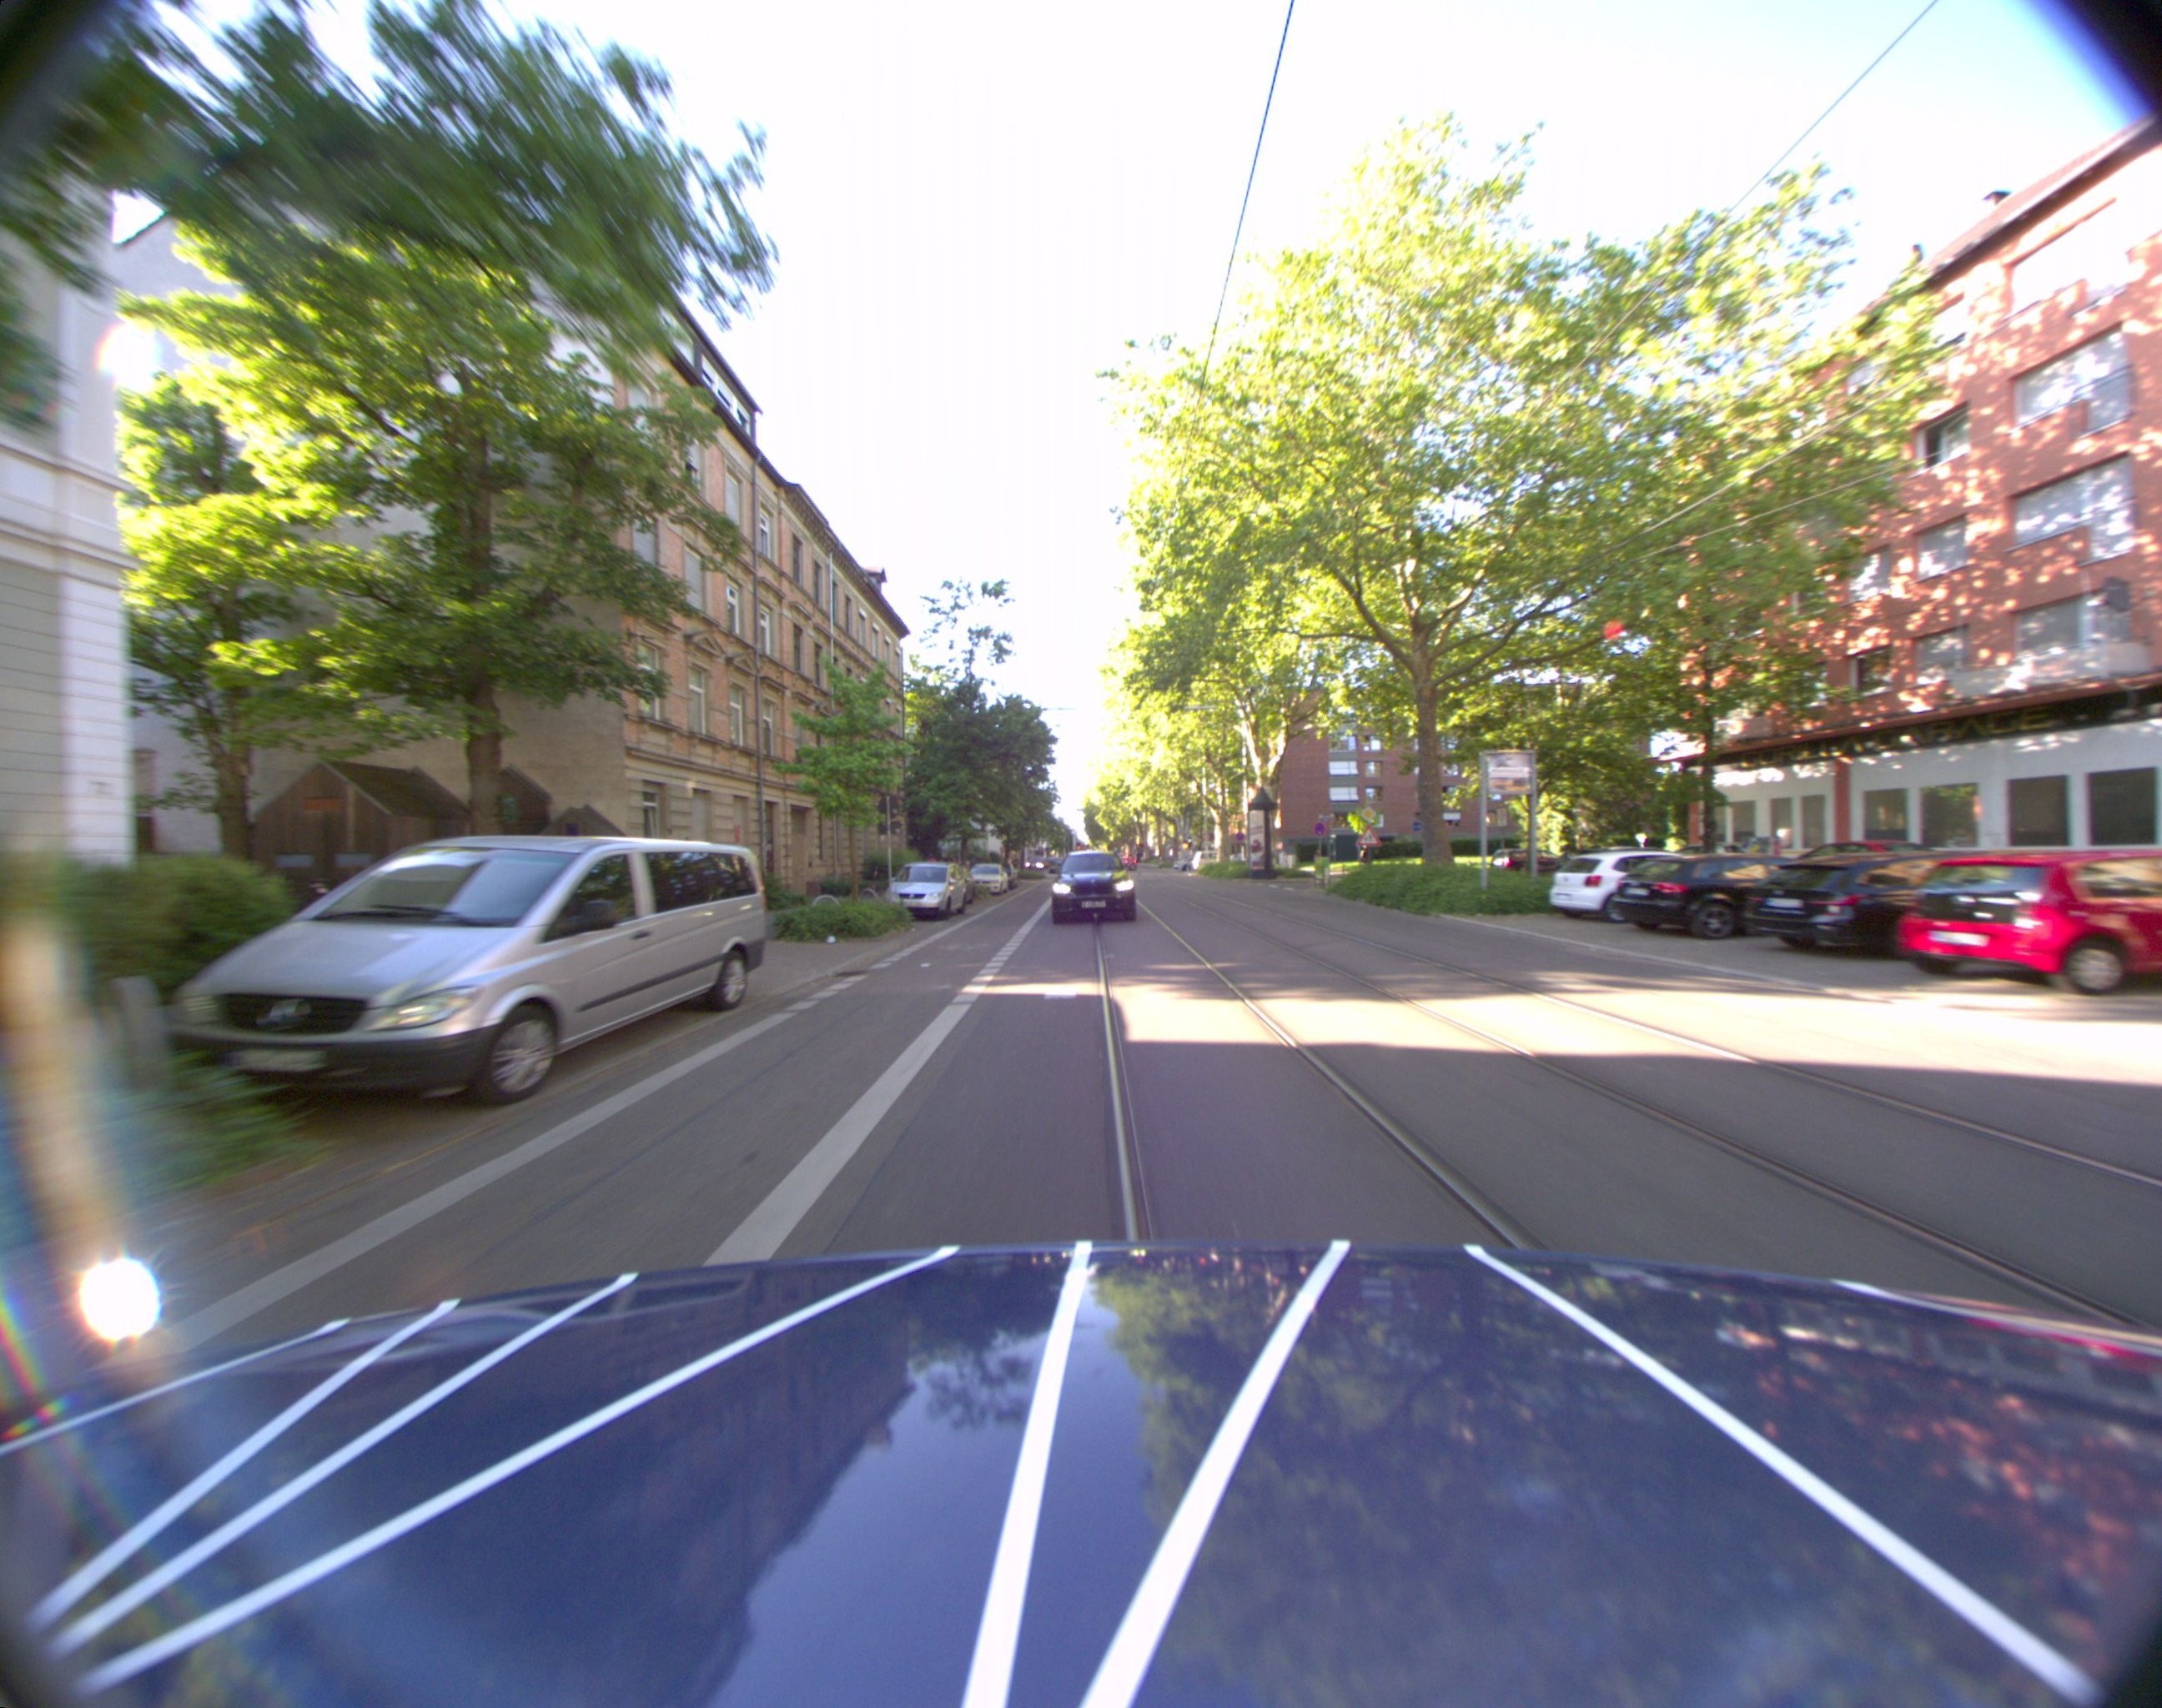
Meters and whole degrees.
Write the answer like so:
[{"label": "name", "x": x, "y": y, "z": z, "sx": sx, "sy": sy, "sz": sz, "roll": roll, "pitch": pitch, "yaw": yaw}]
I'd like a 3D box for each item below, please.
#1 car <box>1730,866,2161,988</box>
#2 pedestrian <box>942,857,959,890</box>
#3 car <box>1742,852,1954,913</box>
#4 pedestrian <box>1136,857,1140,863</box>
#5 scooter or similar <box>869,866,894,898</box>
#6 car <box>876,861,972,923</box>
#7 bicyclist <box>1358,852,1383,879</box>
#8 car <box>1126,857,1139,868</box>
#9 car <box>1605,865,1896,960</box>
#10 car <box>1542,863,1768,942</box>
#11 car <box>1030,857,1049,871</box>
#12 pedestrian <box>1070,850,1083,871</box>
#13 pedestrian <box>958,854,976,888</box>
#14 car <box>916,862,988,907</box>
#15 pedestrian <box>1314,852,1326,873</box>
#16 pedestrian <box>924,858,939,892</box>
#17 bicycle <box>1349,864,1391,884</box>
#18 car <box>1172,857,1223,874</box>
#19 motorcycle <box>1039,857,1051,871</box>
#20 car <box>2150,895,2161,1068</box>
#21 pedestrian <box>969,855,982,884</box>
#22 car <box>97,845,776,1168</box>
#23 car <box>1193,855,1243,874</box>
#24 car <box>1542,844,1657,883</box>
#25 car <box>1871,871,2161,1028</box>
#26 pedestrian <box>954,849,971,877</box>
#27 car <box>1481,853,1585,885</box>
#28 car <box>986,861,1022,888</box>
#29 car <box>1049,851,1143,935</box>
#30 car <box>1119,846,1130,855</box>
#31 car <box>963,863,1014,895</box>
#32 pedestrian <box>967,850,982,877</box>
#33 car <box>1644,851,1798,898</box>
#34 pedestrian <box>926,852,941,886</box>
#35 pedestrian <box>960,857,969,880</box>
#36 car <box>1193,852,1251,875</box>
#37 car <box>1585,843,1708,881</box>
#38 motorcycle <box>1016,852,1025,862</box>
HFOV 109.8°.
[{"label": "car", "x": 12.162, "y": 0.982, "z": 10.879, "sx": 4.092, "sy": 1.456, "sz": 1.821, "roll": -2, "pitch": 0, "yaw": 3}, {"label": "pedestrian", "x": -6.741, "y": 1.004, "z": 39.386, "sx": 0.728, "sy": 1.699, "sz": 0.856, "roll": -2, "pitch": 1, "yaw": -5}, {"label": "car", "x": 21.233, "y": 0.728, "z": 21.315, "sx": 1.952, "sy": 1.478, "sz": 4.000, "roll": -2, "pitch": 0, "yaw": 1}, {"label": "pedestrian", "x": 11.543, "y": 1.175, "z": 153.976, "sx": 0.708, "sy": 1.197, "sz": 0.473, "roll": -2, "pitch": 1, "yaw": 2}, {"label": "scooter or similar", "x": -8.066, "y": 1.124, "z": 30.772, "sx": 0.577, "sy": 1.239, "sz": 1.335, "roll": -2, "pitch": 0, "yaw": 2}, {"label": "car", "x": -4.532, "y": 1.046, "z": 22.539, "sx": 1.888, "sy": 1.559, "sz": 4.242, "roll": 1, "pitch": 0, "yaw": 1}, {"label": "bicyclist", "x": 16.089, "y": 0.636, "z": 42.250, "sx": 0.802, "sy": 1.498, "sz": 1.116, "roll": -2, "pitch": 1, "yaw": -9}, {"label": "car", "x": 7.217, "y": 1.225, "z": 106.552, "sx": 1.665, "sy": 1.435, "sz": 3.473, "roll": -2, "pitch": 0, "yaw": 1}, {"label": "car", "x": 11.730, "y": 0.998, "z": 13.516, "sx": 3.610, "sy": 1.456, "sz": 1.687, "roll": -2, "pitch": 0, "yaw": 3}, {"label": "car", "x": 11.983, "y": 0.980, "z": 16.050, "sx": 3.427, "sy": 1.456, "sz": 1.697, "roll": -2, "pitch": 0, "yaw": 3}, {"label": "car", "x": -4.777, "y": 1.141, "z": 88.063, "sx": 1.766, "sy": 1.612, "sz": 4.442, "roll": 1, "pitch": 0, "yaw": 2}, {"label": "pedestrian", "x": -0.433, "y": 0.623, "z": 71.788, "sx": 0.870, "sy": 1.874, "sz": 0.996, "roll": -2, "pitch": 1, "yaw": -17}, {"label": "pedestrian", "x": -5.891, "y": 0.876, "z": 39.228, "sx": 0.728, "sy": 1.683, "sz": 0.956, "roll": -2, "pitch": 1, "yaw": -2}, {"label": "car", "x": -4.781, "y": 1.099, "z": 28.821, "sx": 1.888, "sy": 1.458, "sz": 4.594, "roll": 1, "pitch": 0, "yaw": 1}, {"label": "pedestrian", "x": 19.242, "y": 0.677, "z": 61.172, "sx": 0.711, "sy": 1.663, "sz": 0.779, "roll": -2, "pitch": 1, "yaw": 1}, {"label": "pedestrian", "x": -8.083, "y": 1.133, "z": 41.084, "sx": 0.600, "sy": 1.783, "sz": 0.728, "roll": -2, "pitch": 1, "yaw": -2}, {"label": "bicycle", "x": 16.087, "y": 1.106, "z": 42.358, "sx": 0.971, "sy": 0.993, "sz": 2.581, "roll": -2, "pitch": 0, "yaw": -9}, {"label": "car", "x": 11.670, "y": 1.136, "z": 76.569, "sx": 4.776, "sy": 1.452, "sz": 1.954, "roll": -2, "pitch": 0, "yaw": -1}, {"label": "motorcycle", "x": -3.687, "y": 1.039, "z": 78.895, "sx": 1.054, "sy": 1.446, "sz": 2.208, "roll": -2, "pitch": 0, "yaw": 1}, {"label": "car", "x": 11.105, "y": 1.023, "z": 5.530, "sx": 3.997, "sy": 1.456, "sz": 1.854, "roll": -2, "pitch": 0, "yaw": 1}, {"label": "pedestrian", "x": -6.571, "y": 0.943, "z": 47.340, "sx": 0.728, "sy": 1.783, "sz": 0.600, "roll": -2, "pitch": 1, "yaw": -5}, {"label": "car", "x": -4.755, "y": 0.882, "z": 6.907, "sx": 1.888, "sy": 1.840, "sz": 4.967, "roll": 1, "pitch": 0, "yaw": 1}, {"label": "car", "x": 12.349, "y": 0.938, "z": 68.666, "sx": 4.150, "sy": 1.637, "sz": 1.902, "roll": -2, "pitch": 0, "yaw": -1}, {"label": "car", "x": 22.276, "y": 0.388, "z": 32.824, "sx": 1.818, "sy": 1.484, "sz": 3.997, "roll": -2, "pitch": 0, "yaw": -9}, {"label": "car", "x": 11.588, "y": 1.001, "z": 8.567, "sx": 3.427, "sy": 1.456, "sz": 1.760, "roll": -2, "pitch": 0, "yaw": 3}, {"label": "pedestrian", "x": -7.720, "y": 0.603, "z": 49.522, "sx": 0.727, "sy": 1.782, "sz": 0.969, "roll": 1, "pitch": 0, "yaw": 12}, {"label": "car", "x": 24.223, "y": 0.784, "z": 40.766, "sx": 4.540, "sy": 1.480, "sz": 1.859, "roll": -2, "pitch": 0, "yaw": -5}, {"label": "car", "x": -4.328, "y": 1.126, "z": 43.238, "sx": 1.677, "sy": 1.404, "sz": 3.842, "roll": 1, "pitch": 0, "yaw": -1}, {"label": "car", "x": 0.367, "y": 0.824, "z": 18.789, "sx": 1.937, "sy": 1.718, "sz": 5.073, "roll": -2, "pitch": 0, "yaw": 1}, {"label": "car", "x": 7.348, "y": -0.597, "z": 128.438, "sx": 1.820, "sy": 1.559, "sz": 4.116, "roll": 0, "pitch": 0, "yaw": 1}, {"label": "car", "x": -4.371, "y": 1.145, "z": 36.613, "sx": 1.888, "sy": 1.360, "sz": 4.107, "roll": 1, "pitch": 0, "yaw": 1}, {"label": "pedestrian", "x": -6.943, "y": 0.609, "z": 49.609, "sx": 0.727, "sy": 1.782, "sz": 0.854, "roll": 1, "pitch": 0, "yaw": 12}, {"label": "car", "x": 21.327, "y": 0.619, "z": 25.561, "sx": 1.952, "sy": 1.399, "sz": 3.892, "roll": -2, "pitch": 0, "yaw": 1}, {"label": "pedestrian", "x": -7.888, "y": 0.816, "z": 40.620, "sx": 0.600, "sy": 1.783, "sz": 0.728, "roll": -2, "pitch": 1, "yaw": 2}, {"label": "pedestrian", "x": -8.847, "y": 1.092, "z": 57.753, "sx": 0.620, "sy": 1.715, "sz": 0.553, "roll": -2, "pitch": 1, "yaw": -15}, {"label": "car", "x": 12.153, "y": 0.835, "z": 65.545, "sx": 4.582, "sy": 1.823, "sz": 1.938, "roll": -2, "pitch": 0, "yaw": -1}, {"label": "car", "x": 24.594, "y": 0.328, "z": 33.227, "sx": 2.000, "sy": 1.517, "sz": 3.996, "roll": -2, "pitch": 0, "yaw": -10}, {"label": "motorcycle", "x": -8.502, "y": 0.485, "z": 106.911, "sx": 0.954, "sy": 1.309, "sz": 2.651, "roll": 4, "pitch": -1, "yaw": -1}]
